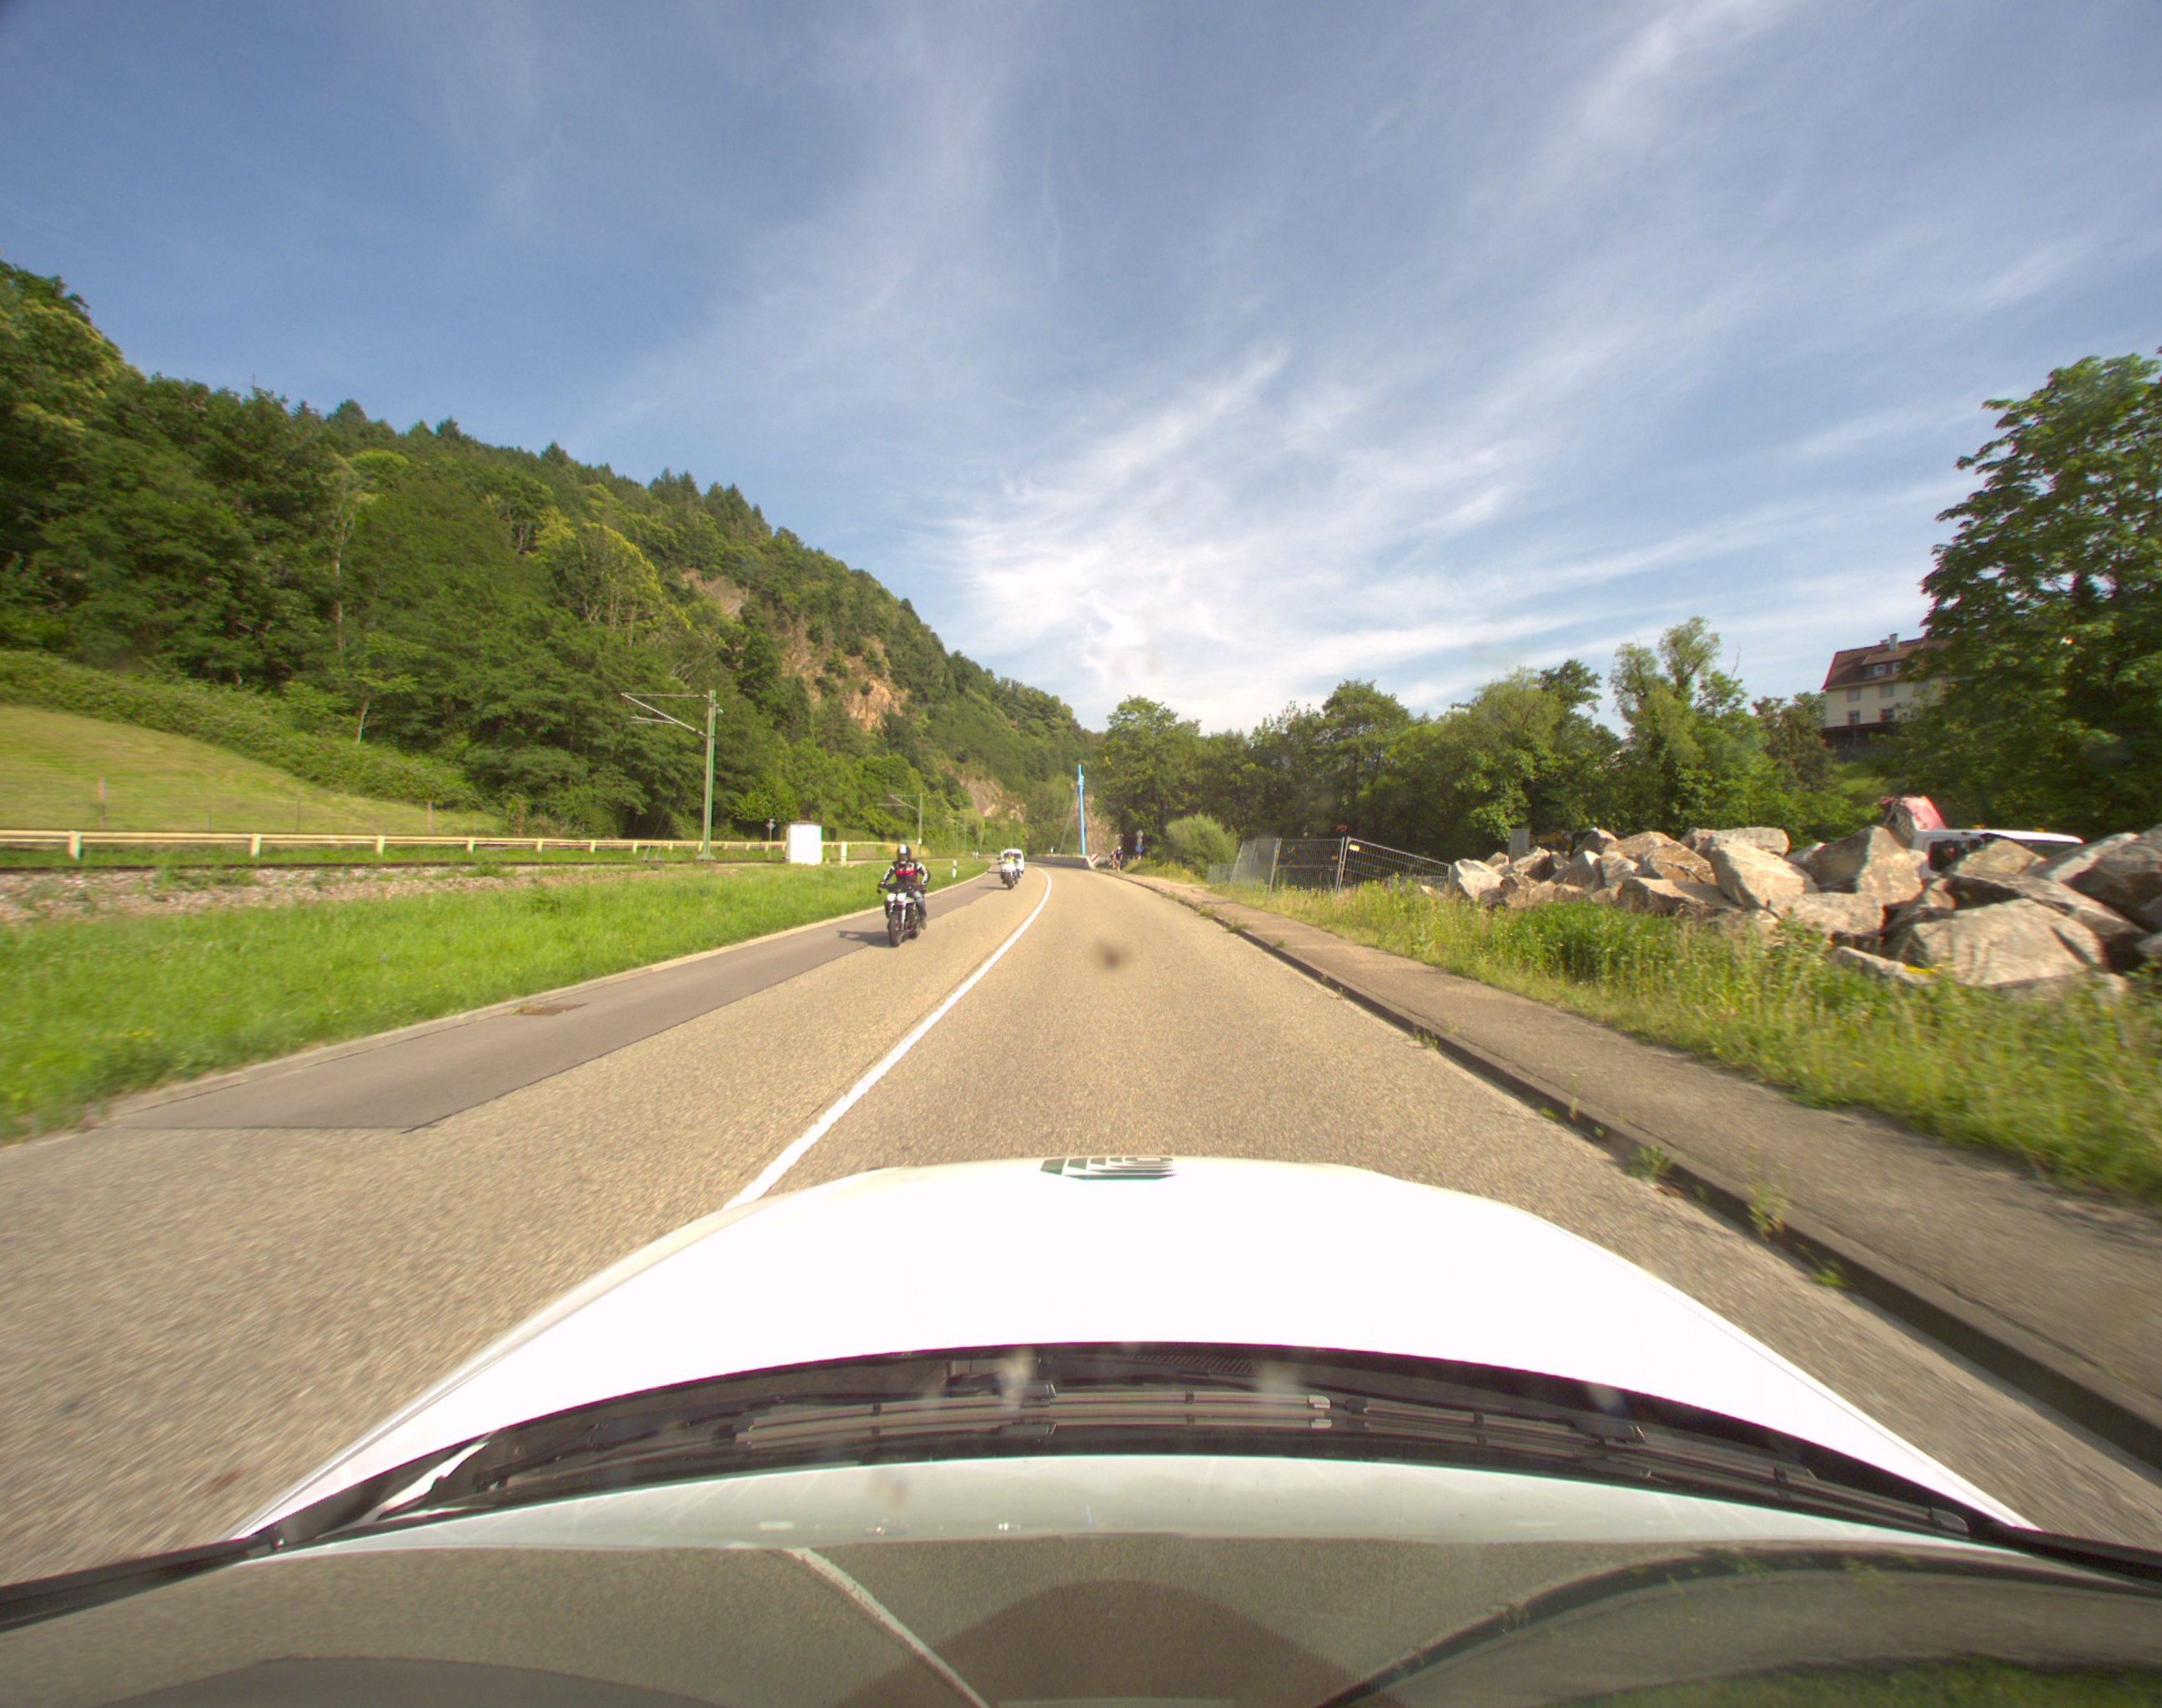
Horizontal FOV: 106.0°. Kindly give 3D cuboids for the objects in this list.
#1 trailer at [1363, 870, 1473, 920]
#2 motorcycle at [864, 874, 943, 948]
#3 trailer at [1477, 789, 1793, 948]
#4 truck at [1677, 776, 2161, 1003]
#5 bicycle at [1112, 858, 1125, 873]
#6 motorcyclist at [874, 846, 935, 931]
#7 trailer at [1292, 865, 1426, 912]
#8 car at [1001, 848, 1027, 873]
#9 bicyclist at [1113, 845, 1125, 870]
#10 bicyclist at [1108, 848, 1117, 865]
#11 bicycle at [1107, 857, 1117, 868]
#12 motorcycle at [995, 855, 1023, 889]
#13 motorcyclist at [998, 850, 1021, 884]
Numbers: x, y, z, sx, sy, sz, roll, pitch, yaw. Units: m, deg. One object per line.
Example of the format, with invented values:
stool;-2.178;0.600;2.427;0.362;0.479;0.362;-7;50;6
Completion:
trailer;13.516;1.594;33.029;2.052;1.823;4.781;2;-1;-6
motorcycle;-3.071;0.952;14.323;0.858;1.130;2.126;0;1;2
trailer;17.660;0.480;27.318;3.358;4.274;9.894;2;-1;-4
truck;18.169;0.641;18.086;3.097;3.782;8.631;2;0;-4
bicycle;2.604;0.786;56.375;0.647;0.942;1.845;3;0;-4
motorcyclist;-3.067;0.577;14.256;0.840;1.423;0.964;0;1;1
trailer;13.688;1.604;41.430;2.383;2.014;11.487;2;-1;-3
car;-4.980;0.431;61.106;1.866;1.781;4.593;0;0;-4
bicyclist;2.626;0.242;56.470;0.640;1.654;0.807;3;0;-4
bicyclist;2.619;0.211;67.850;0.591;1.401;0.760;3;0;-4
bicycle;2.596;0.710;67.847;0.599;0.916;1.845;3;0;-4
motorcycle;-3.094;0.757;35.122;0.858;1.383;2.405;0;1;3
motorcyclist;-3.091;0.549;35.109;0.855;1.423;0.964;0;1;2
